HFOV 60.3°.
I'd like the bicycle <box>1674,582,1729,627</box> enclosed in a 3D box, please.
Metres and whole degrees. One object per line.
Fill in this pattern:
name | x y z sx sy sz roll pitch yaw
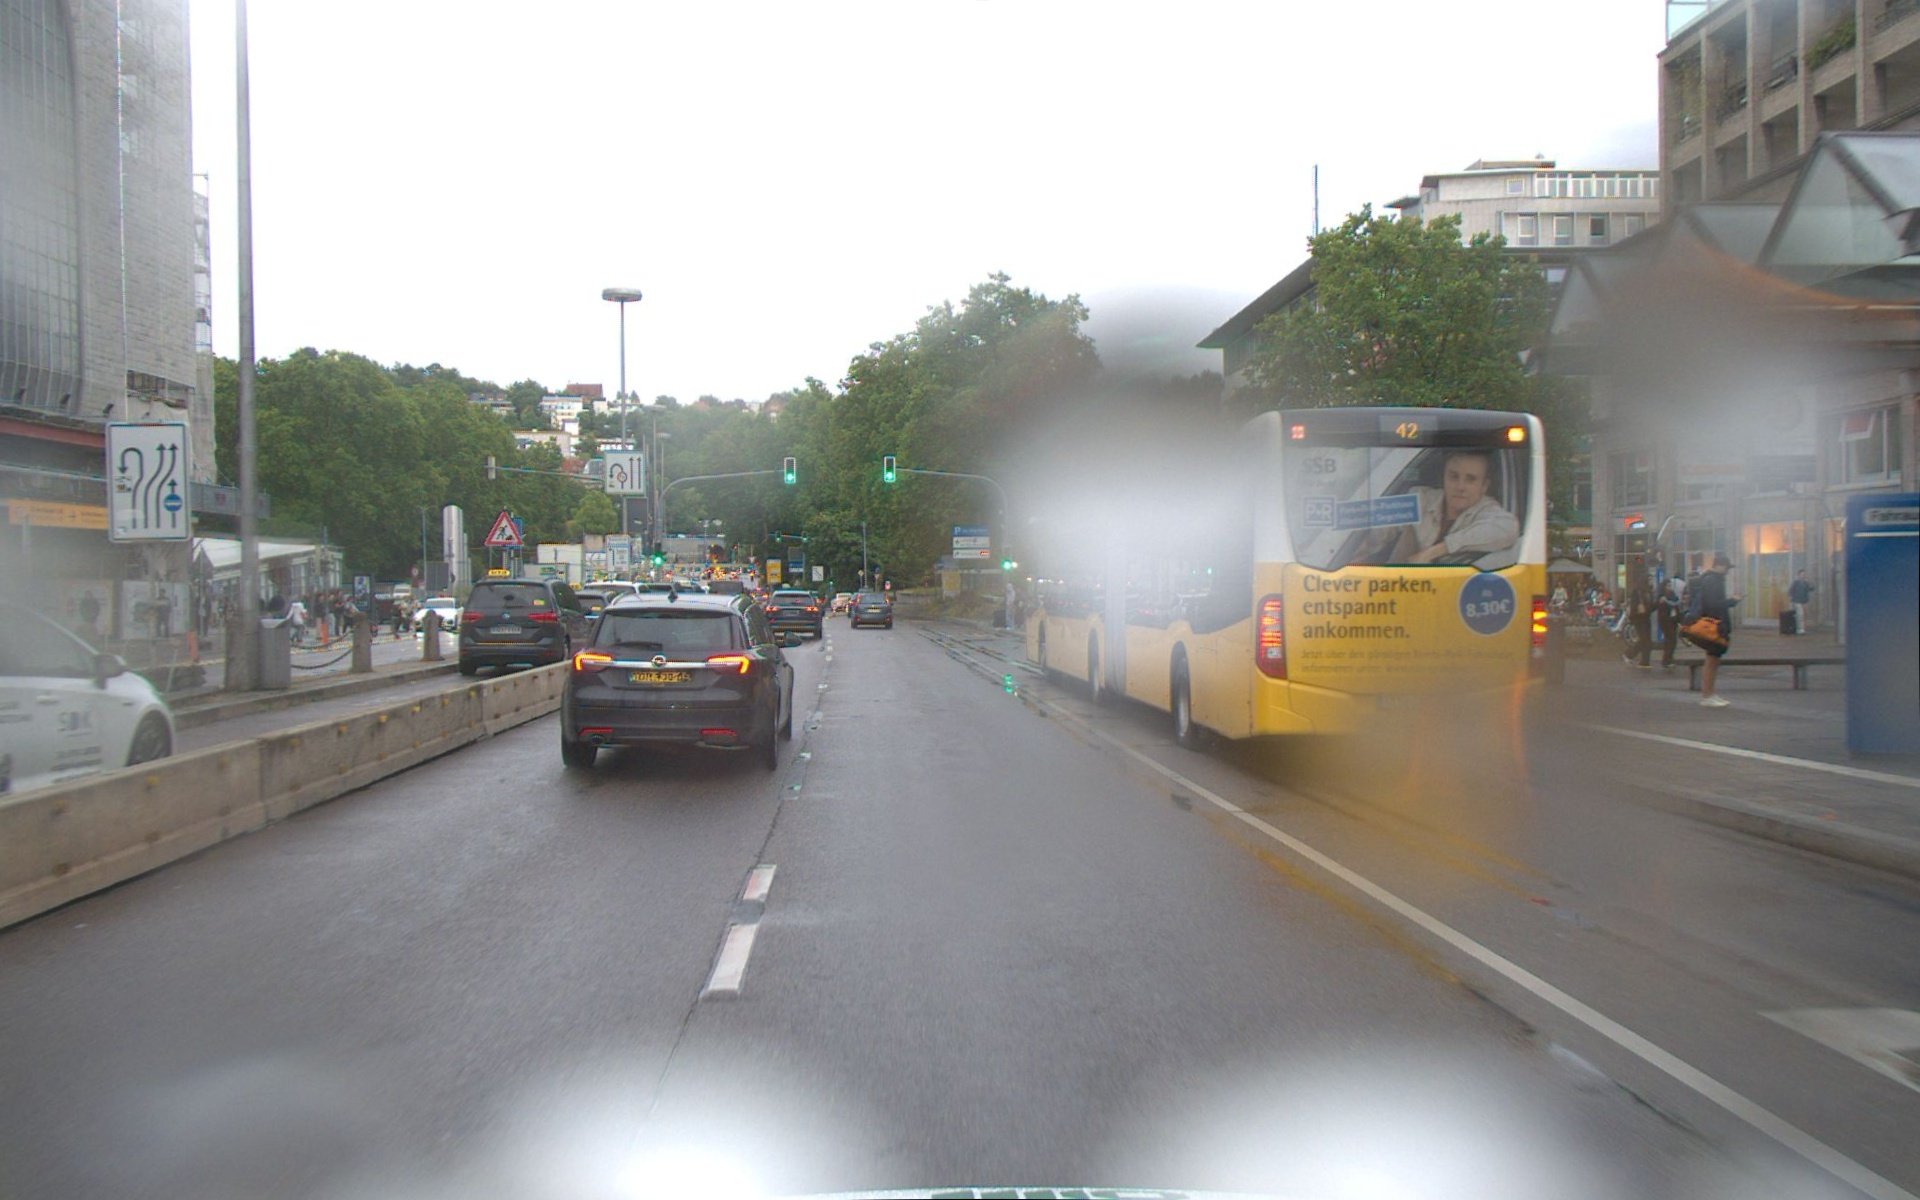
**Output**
bicycle | 21.484 0.127 47.962 0.646 1.277 2.013 -1 0 -2

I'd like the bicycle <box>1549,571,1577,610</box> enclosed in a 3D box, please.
bicycle | 26.286 -0.434 72.125 0.603 1.662 1.997 0 1 4

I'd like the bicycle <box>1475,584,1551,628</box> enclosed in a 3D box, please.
bicycle | 15.885 0.170 47.497 2.061 1.159 0.881 -3 1 -30

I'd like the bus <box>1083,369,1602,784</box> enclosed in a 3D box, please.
bus | 3.424 -0.177 17.811 3.078 3.304 9.130 0 0 -3

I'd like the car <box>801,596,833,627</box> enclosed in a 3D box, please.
car | -8.435 0.662 97.474 1.867 1.747 3.995 0 0 -5

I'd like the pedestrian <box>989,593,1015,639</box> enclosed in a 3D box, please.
pedestrian | 1.755 0.666 69.054 0.774 1.871 0.945 -1 0 -18

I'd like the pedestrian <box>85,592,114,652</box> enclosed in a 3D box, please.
pedestrian | -26.966 0.683 51.836 0.525 1.873 0.771 0 0 -3

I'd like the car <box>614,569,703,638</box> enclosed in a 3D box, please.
car | -8.433 0.080 46.643 1.954 1.818 4.843 -1 0 -4

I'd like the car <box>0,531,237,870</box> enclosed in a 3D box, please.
car | -5.969 0.529 9.324 1.954 1.736 4.828 -1 0 -4

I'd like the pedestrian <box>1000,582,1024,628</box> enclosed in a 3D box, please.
pedestrian | 2.076 0.188 66.165 0.734 1.836 0.706 -1 0 -18

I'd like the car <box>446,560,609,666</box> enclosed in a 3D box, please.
car | -7.558 0.194 29.352 1.954 1.682 4.637 -1 0 -4

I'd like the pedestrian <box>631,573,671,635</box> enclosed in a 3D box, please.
pedestrian | -10.329 0.115 55.341 0.819 2.049 1.025 0 0 34

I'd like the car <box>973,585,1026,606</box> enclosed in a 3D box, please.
car | 2.871 -0.314 120.695 3.546 1.532 1.728 0 0 35

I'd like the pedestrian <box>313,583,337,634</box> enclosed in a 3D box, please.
pedestrian | -23.881 0.309 62.180 0.626 1.873 0.774 -1 0 -6

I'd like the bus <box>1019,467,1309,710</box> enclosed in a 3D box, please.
bus | 2.930 -0.145 26.961 3.051 3.261 9.235 0 0 -4

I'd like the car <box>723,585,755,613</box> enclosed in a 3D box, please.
car | -12.771 -0.049 95.717 1.789 1.537 4.483 0 0 -7

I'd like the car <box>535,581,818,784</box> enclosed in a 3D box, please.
car | -2.371 0.611 15.058 1.839 1.534 4.850 0 0 -1

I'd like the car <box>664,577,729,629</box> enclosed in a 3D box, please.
car | -9.220 0.088 58.170 1.751 1.715 4.663 -1 0 -3

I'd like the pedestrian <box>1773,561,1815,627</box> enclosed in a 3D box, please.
pedestrian | 23.203 -0.168 46.037 0.717 1.823 0.788 -1 0 -4

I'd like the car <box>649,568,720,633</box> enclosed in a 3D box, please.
car | -8.630 -0.015 52.098 1.680 1.925 4.607 -1 0 -4

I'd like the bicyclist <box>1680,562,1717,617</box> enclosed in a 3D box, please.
bicyclist | 21.479 -0.311 48.108 0.636 1.581 0.907 -1 0 -1

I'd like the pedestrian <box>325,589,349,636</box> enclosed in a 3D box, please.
pedestrian | -25.299 0.514 67.152 0.684 1.873 0.877 0 0 -5

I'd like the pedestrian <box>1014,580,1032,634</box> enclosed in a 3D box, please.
pedestrian | 2.580 0.296 67.738 0.545 2.183 0.665 -1 0 -18

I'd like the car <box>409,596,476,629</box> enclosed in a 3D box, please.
car | -23.466 0.555 75.167 1.954 1.493 3.998 0 0 -3

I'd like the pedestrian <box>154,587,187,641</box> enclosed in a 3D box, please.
pedestrian | -27.741 0.472 58.131 0.763 1.873 0.771 -1 0 -4

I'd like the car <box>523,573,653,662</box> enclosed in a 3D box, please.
car | -7.897 0.325 35.579 2.009 1.741 5.050 -1 0 -5

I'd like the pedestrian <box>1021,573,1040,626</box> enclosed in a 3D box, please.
pedestrian | 2.963 -0.015 69.500 0.693 2.183 0.722 -1 0 6

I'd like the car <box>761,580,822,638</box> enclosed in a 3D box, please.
car | -5.247 0.268 51.889 1.795 1.715 4.130 -1 0 -5

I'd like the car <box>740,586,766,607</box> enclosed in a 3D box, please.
car | -18.880 -0.328 150.490 1.959 1.859 3.986 0 0 -13

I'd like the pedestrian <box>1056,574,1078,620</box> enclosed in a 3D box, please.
pedestrian | 4.298 -0.101 66.610 0.533 1.836 0.750 -1 0 -31

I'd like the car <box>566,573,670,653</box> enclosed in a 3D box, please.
car | -8.330 0.294 40.639 1.955 1.818 4.449 -1 0 -5

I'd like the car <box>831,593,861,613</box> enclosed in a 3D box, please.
car | -9.523 0.264 137.985 1.783 1.602 3.985 0 0 -14

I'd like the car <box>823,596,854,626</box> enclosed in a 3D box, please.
car | -6.704 0.590 91.533 1.641 1.609 3.237 0 0 -4

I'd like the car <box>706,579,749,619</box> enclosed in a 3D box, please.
car | -11.162 -0.053 79.754 1.956 1.877 5.054 0 0 -7

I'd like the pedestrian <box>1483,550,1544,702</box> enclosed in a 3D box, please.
pedestrian | 6.934 0.319 20.739 0.680 1.869 0.556 0 0 13

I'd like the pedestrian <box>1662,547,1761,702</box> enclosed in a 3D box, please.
pedestrian | 9.304 0.291 20.513 0.963 1.869 0.836 0 0 13

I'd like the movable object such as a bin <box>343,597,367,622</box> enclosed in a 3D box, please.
movable object such as a bin | -24.592 0.369 67.195 0.744 0.987 0.720 -1 0 -5

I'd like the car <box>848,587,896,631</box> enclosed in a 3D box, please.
car | -3.631 0.355 67.650 1.816 1.747 3.995 0 0 -5

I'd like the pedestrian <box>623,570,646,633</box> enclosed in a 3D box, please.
pedestrian | -10.677 0.049 54.259 0.609 2.049 0.835 -1 0 -4

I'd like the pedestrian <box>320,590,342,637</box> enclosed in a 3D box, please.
pedestrian | -25.262 0.521 66.452 0.684 1.873 0.528 -1 0 -5

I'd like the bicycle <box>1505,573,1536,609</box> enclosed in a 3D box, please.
bicycle | 25.221 -0.412 74.423 0.776 1.589 2.132 0 1 4
